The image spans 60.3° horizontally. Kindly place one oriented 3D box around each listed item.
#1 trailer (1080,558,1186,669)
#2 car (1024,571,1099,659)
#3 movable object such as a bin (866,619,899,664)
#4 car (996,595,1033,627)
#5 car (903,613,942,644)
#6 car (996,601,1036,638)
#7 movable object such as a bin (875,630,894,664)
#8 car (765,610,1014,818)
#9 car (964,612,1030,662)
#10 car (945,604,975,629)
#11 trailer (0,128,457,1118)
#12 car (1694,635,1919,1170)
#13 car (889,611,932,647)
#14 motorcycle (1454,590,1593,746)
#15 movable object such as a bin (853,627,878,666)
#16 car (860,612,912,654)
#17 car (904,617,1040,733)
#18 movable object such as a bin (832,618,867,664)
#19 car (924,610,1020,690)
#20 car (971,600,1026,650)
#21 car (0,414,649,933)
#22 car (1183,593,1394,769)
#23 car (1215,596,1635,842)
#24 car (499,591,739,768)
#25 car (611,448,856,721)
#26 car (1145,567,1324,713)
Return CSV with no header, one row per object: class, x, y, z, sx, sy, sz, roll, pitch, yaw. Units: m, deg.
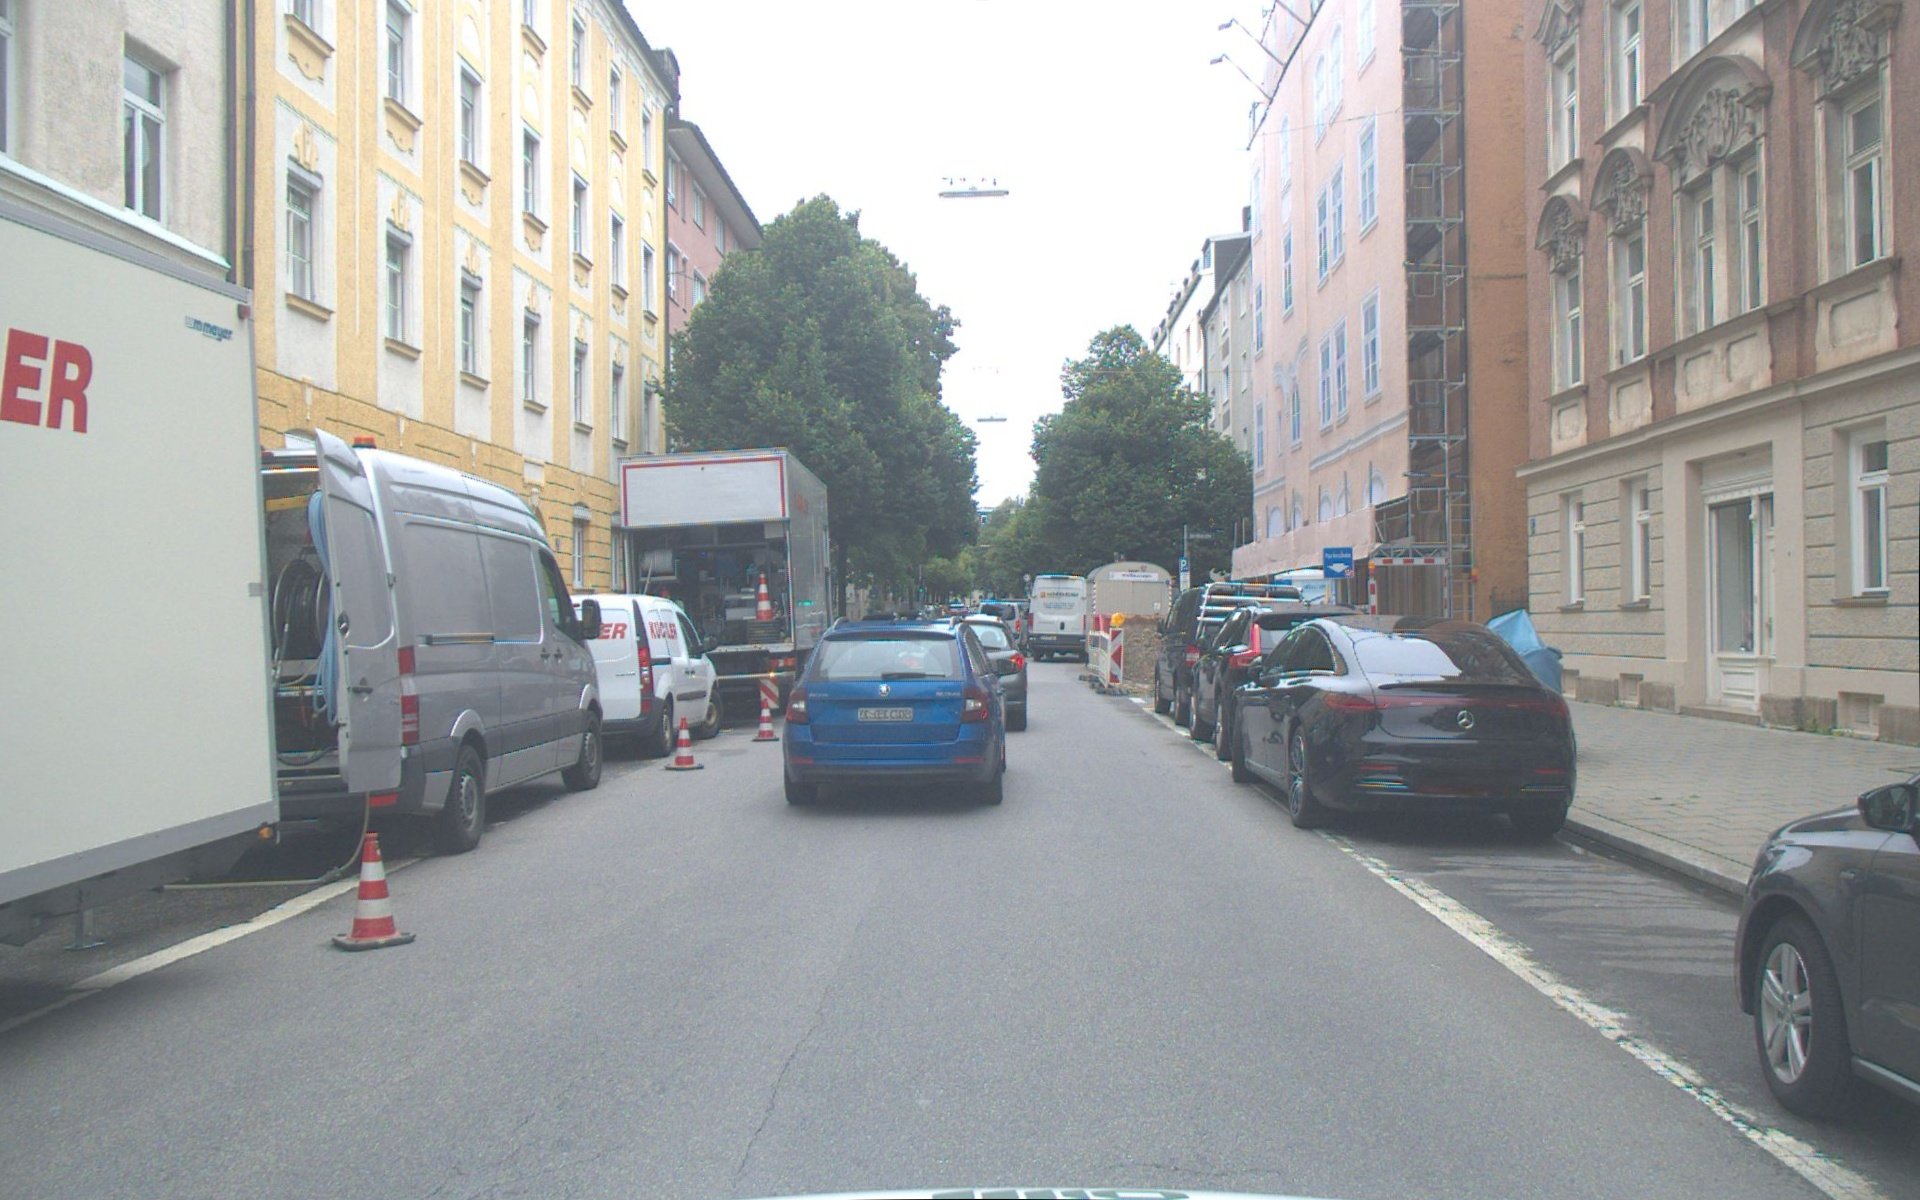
trailer,4.809,0.415,47.051,2.450,2.890,6.902,1,-1,1
car,3.379,0.521,54.174,2.067,2.710,5.504,1,-1,7
movable object such as a bin,-2.541,1.343,54.174,1.000,1.400,1.103,-3,0,-3
car,2.992,0.593,90.666,1.966,1.682,4.348,1,0,2
car,-1.866,1.435,83.667,1.774,1.504,4.001,0,0,1
car,2.649,0.915,78.923,1.829,1.682,4.348,1,0,1
movable object such as a bin,-2.373,1.483,52.217,0.535,1.038,0.636,-2,0,-2
car,-0.445,0.853,14.173,1.752,1.486,4.315,-1,-1,2
car,1.095,1.054,48.729,1.829,1.372,4.348,1,0,1
car,0.010,1.156,117.060,1.966,1.682,4.348,1,0,2
trailer,-4.313,0.123,4.857,2.745,3.020,7.603,-4,0,4
car,3.335,0.799,3.702,1.540,1.419,4.182,-1,-1,1
car,-2.128,1.238,71.628,1.775,1.504,3.999,0,0,0
motorcycle,5.825,0.676,17.236,0.853,1.531,1.998,0,-1,3
movable object such as a bin,-2.980,1.469,52.167,0.697,1.168,0.636,-2,0,-2
car,-2.700,1.184,60.903,1.775,1.504,3.999,0,0,0
car,0.231,0.974,22.730,1.705,1.447,3.665,-1,-1,3
movable object such as a bin,-3.535,1.297,53.011,1.060,1.400,1.083,-3,0,-3
car,0.254,0.972,33.759,1.829,1.479,4.347,1,0,1
car,1.582,0.954,66.136,1.828,1.902,4.350,1,0,6
car,-4.140,0.420,12.354,2.014,2.632,6.877,-5,-1,1
car,3.617,0.850,18.919,1.658,1.706,4.409,2,-1,3
car,3.434,0.787,13.488,1.891,1.580,5.637,0,0,1
car,-3.923,0.865,19.769,1.726,1.810,4.328,-2,-1,2
car,-3.530,-0.173,28.124,2.754,3.884,8.724,-1,-1,1
car,3.994,0.667,24.887,2.039,1.955,5.141,1,-3,2
